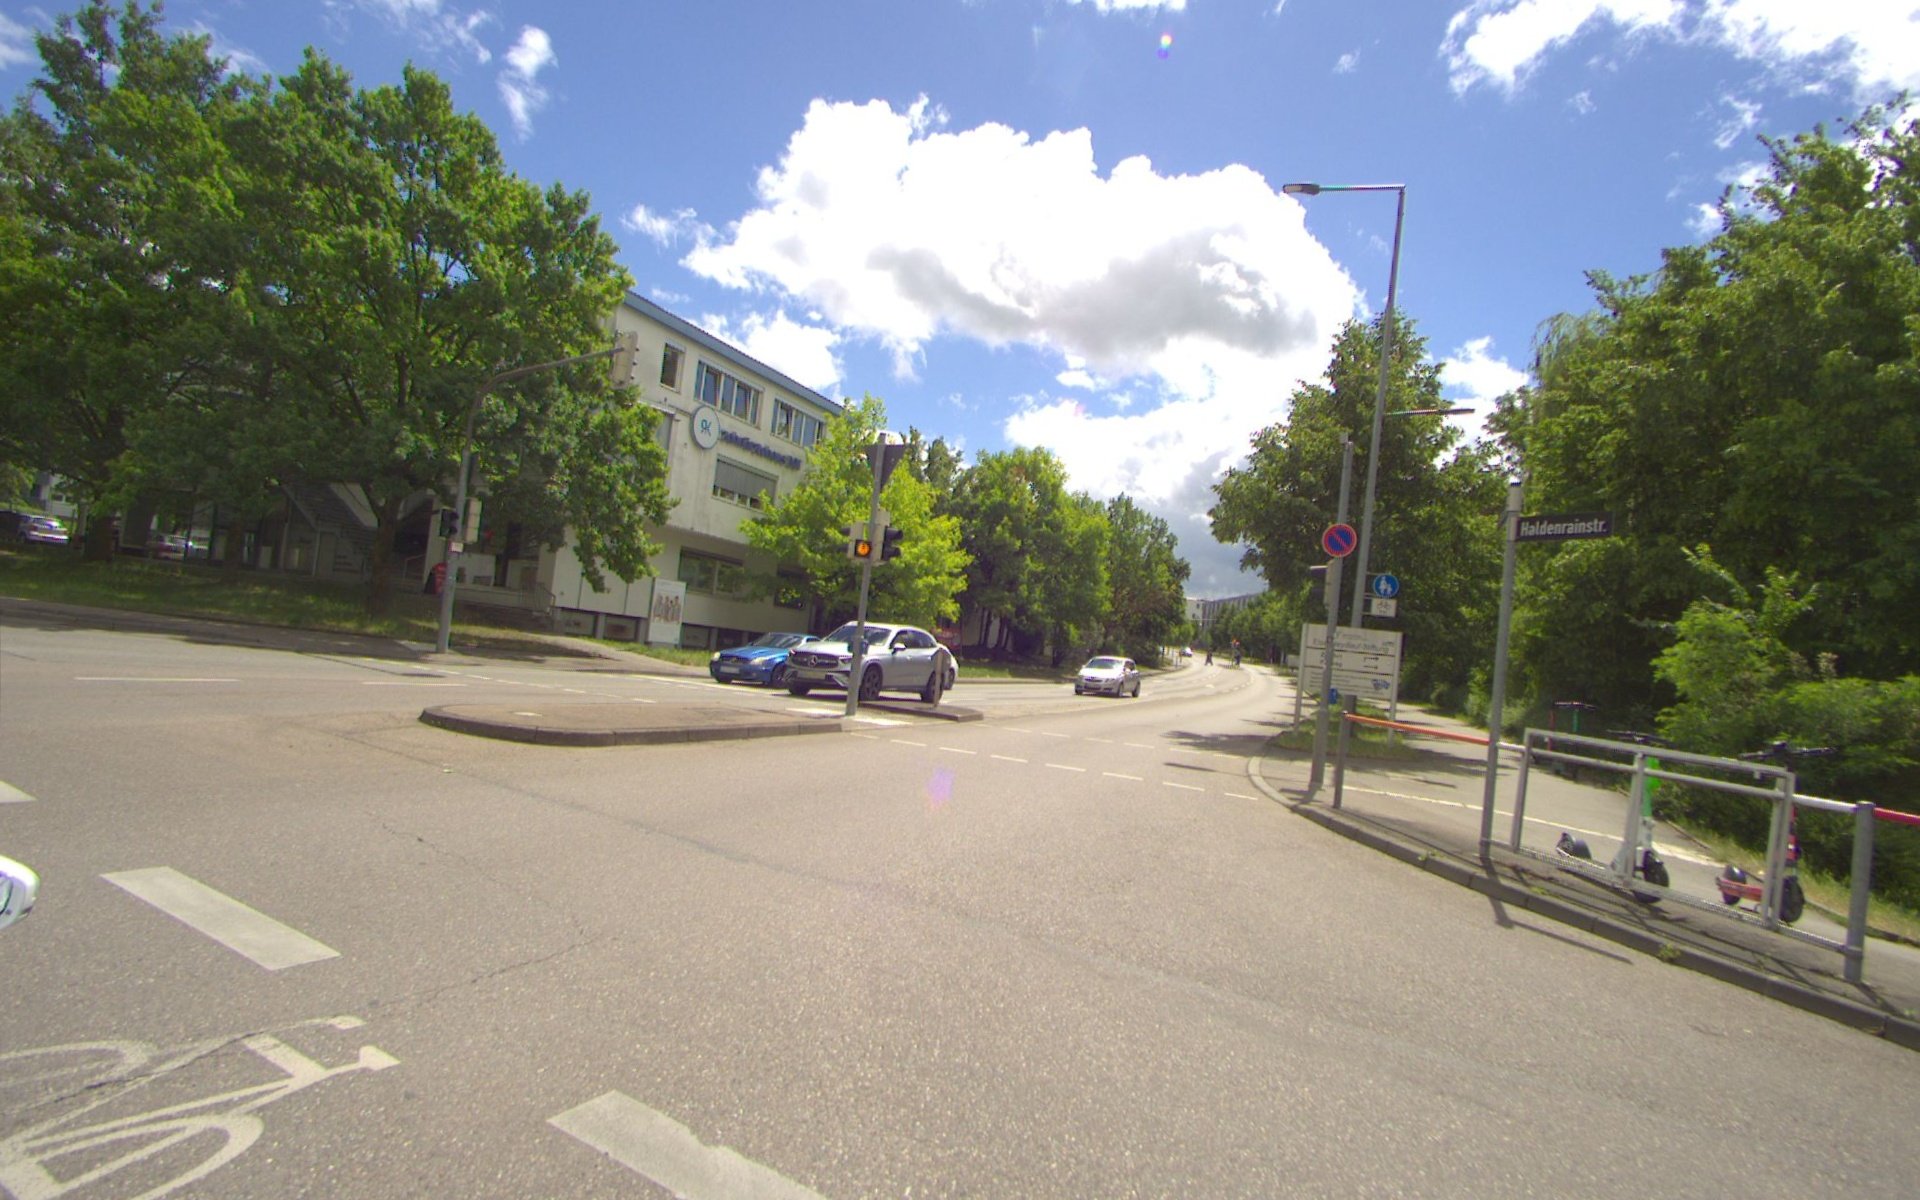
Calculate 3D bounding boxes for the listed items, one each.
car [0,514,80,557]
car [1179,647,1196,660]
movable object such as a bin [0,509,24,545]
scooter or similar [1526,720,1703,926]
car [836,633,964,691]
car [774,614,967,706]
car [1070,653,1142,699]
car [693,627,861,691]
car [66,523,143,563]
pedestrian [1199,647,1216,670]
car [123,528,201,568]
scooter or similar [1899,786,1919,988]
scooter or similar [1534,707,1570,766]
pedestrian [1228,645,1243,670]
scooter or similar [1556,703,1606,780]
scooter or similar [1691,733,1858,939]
[{"bbox_3d":[-43.762,-3.078,47.702,3.935,1.508,1.943,7,-2,33],"label":"car"},{"bbox_3d":[34.985,8.240,155.091,1.962,1.646,4.004,7,-1,7],"label":"car"},{"bbox_3d":[-42.640,-3.291,44.659,1.263,1.447,1.118,7,-1,28],"label":"movable object such as a bin"},{"bbox_3d":[4.821,1.599,7.496,0.470,1.249,1.212,7,-1,5],"label":"scooter or similar"},{"bbox_3d":[-1.682,1.874,29.755,1.916,1.431,4.404,4,-3,23],"label":"car"},{"bbox_3d":[-1.740,1.320,21.399,1.889,1.610,4.656,4,-3,25],"label":"car"},{"bbox_3d":[5.425,2.808,36.953,1.580,1.429,3.899,4,-3,23],"label":"car"},{"bbox_3d":[-4.208,1.440,23.756,1.880,1.239,3.971,4,-3,25],"label":"car"},{"bbox_3d":[-42.308,-2.812,49.742,3.935,1.460,1.746,7,-1,33],"label":"car"},{"bbox_3d":[28.584,6.712,116.092,1.315,2.446,1.408,7,-1,31],"label":"pedestrian"},{"bbox_3d":[-41.079,-2.683,51.788,3.933,1.488,1.747,7,-1,31],"label":"car"},{"bbox_3d":[5.905,1.682,5.830,0.442,1.209,1.168,7,-1,37],"label":"scooter or similar"},{"bbox_3d":[11.765,2.700,19.988,0.404,1.086,1.112,7,-1,37],"label":"scooter or similar"},{"bbox_3d":[31.719,6.601,115.819,1.136,2.681,1.536,7,-1,26],"label":"pedestrian"},{"bbox_3d":[10.593,2.402,17.145,0.515,1.196,1.172,7,-1,37],"label":"scooter or similar"},{"bbox_3d":[5.910,1.660,7.366,0.471,1.249,1.186,7,-1,20],"label":"scooter or similar"}]
